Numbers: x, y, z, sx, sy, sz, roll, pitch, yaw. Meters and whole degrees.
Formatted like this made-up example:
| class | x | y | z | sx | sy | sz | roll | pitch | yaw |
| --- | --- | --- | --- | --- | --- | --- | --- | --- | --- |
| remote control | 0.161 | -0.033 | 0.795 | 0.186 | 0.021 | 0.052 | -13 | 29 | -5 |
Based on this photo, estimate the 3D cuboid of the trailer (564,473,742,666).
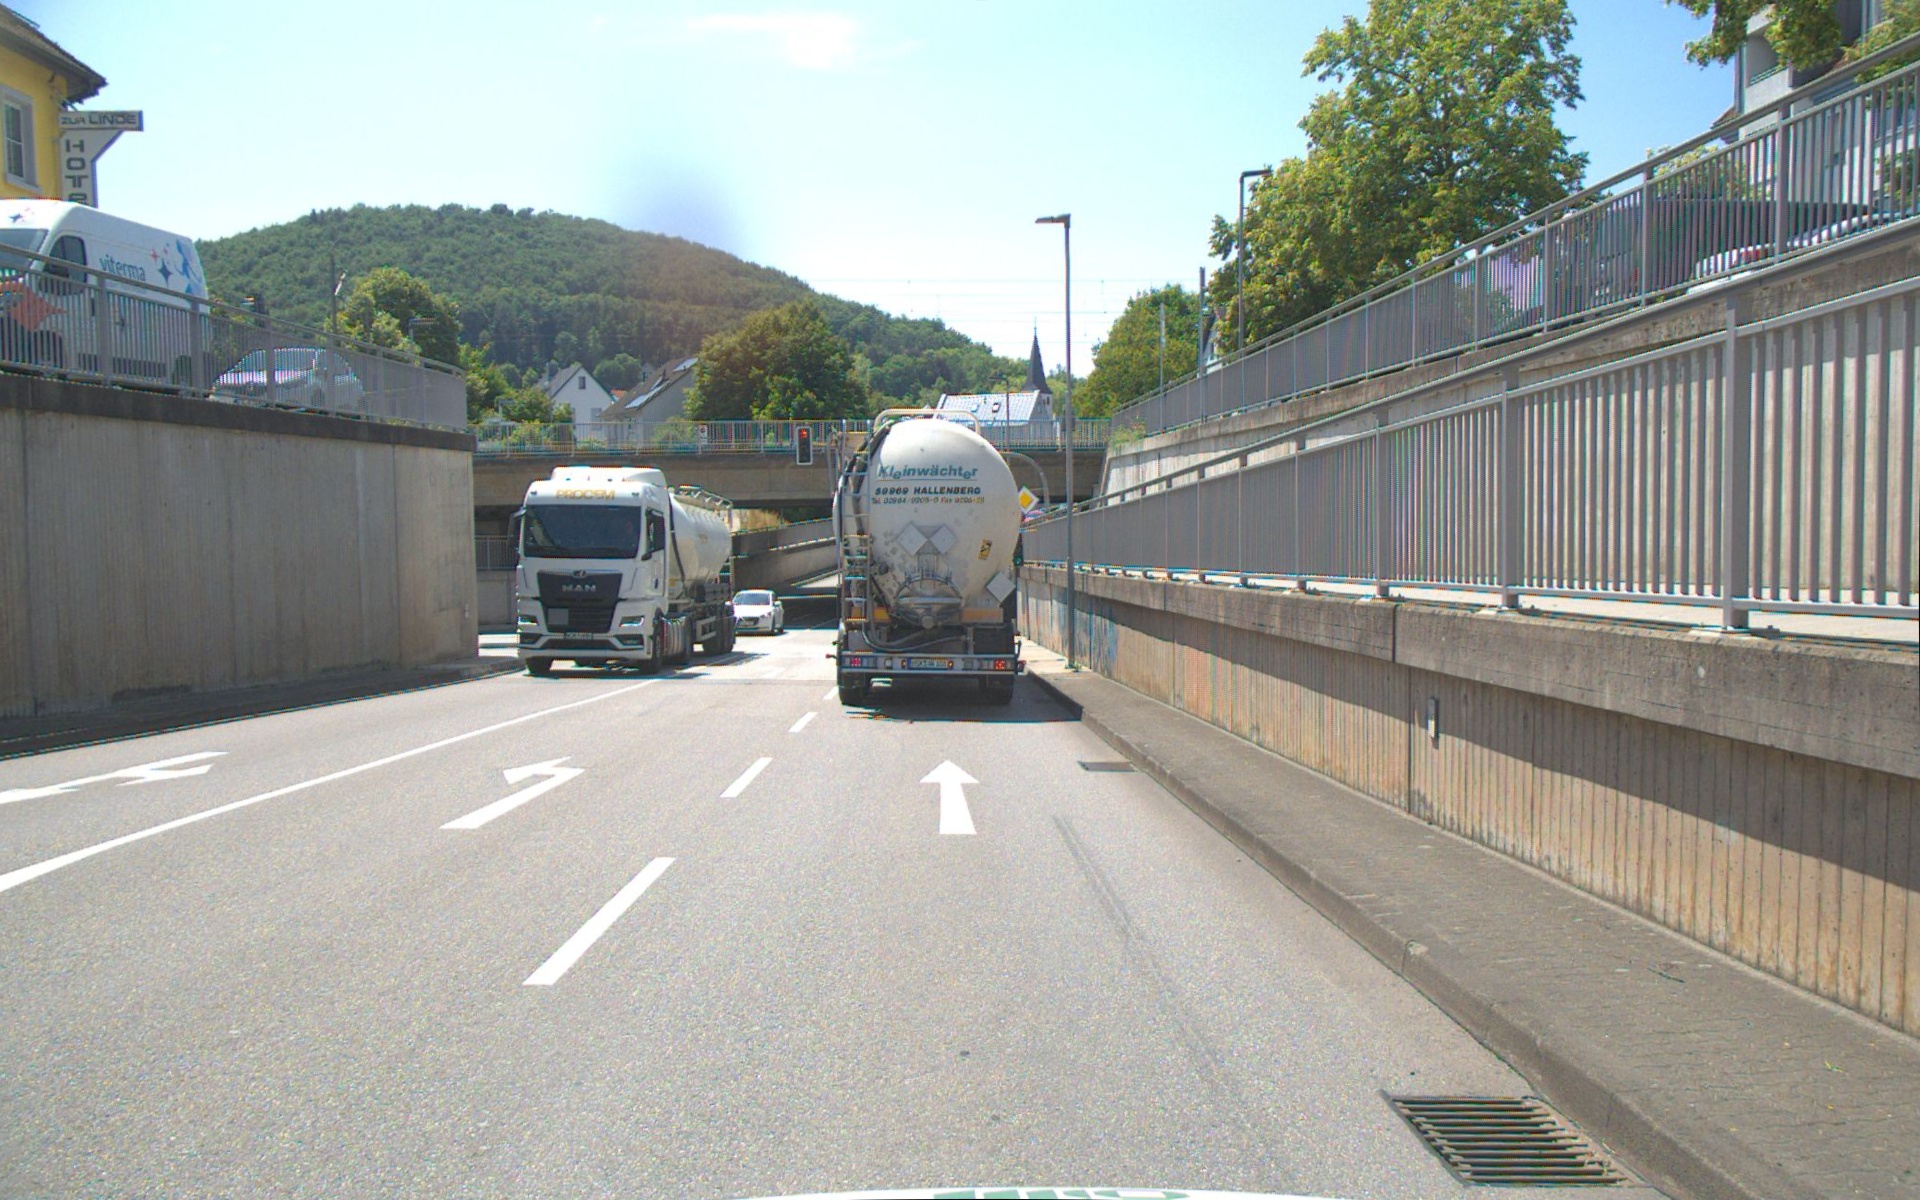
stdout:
| class | x | y | z | sx | sy | sz | roll | pitch | yaw |
| --- | --- | --- | --- | --- | --- | --- | --- | --- | --- |
| trailer | -7.052 | -0.638 | 39.302 | 2.557 | 4.033 | 9.345 | 0 | 0 | -1 |

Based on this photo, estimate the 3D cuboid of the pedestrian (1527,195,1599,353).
| class | x | y | z | sx | sy | sz | roll | pitch | yaw |
| --- | --- | --- | --- | --- | --- | --- | --- | --- | --- |
| pedestrian | 7.291 | -3.929 | 20.017 | 0.659 | 1.810 | 0.594 | -1 | 3 | 0 |

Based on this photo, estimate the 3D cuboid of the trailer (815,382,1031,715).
| class | x | y | z | sx | sy | sz | roll | pitch | yaw |
| --- | --- | --- | --- | --- | --- | --- | --- | --- | --- |
| trailer | -0.494 | -0.641 | 27.293 | 2.679 | 4.135 | 13.311 | 0 | 0 | 0 |

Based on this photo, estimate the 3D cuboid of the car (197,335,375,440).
| class | x | y | z | sx | sy | sz | roll | pitch | yaw |
| --- | --- | --- | --- | --- | --- | --- | --- | --- | --- |
| car | -11.795 | -3.685 | 29.208 | 1.586 | 1.526 | 4.044 | 1 | 3 | -2 |

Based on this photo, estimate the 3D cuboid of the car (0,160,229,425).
| class | x | y | z | sx | sy | sz | roll | pitch | yaw |
| --- | --- | --- | --- | --- | --- | --- | --- | --- | --- |
| car | -11.350 | -3.615 | 20.535 | 2.023 | 2.580 | 5.663 | 1 | 3 | 0 |

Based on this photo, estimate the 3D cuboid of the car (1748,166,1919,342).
| class | x | y | z | sx | sy | sz | roll | pitch | yaw |
| --- | --- | --- | --- | --- | --- | --- | --- | --- | --- |
| car | 9.792 | -3.255 | 15.690 | 3.826 | 1.391 | 1.686 | -1 | 3 | 0 |

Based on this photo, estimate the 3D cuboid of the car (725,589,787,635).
| class | x | y | z | sx | sy | sz | roll | pitch | yaw |
| --- | --- | --- | --- | --- | --- | --- | --- | --- | --- |
| car | -6.992 | 0.394 | 56.959 | 1.648 | 1.466 | 4.093 | 1 | 1 | 0 |

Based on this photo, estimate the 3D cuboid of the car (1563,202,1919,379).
| class | x | y | z | sx | sy | sz | roll | pitch | yaw |
| --- | --- | --- | --- | --- | --- | --- | --- | --- | --- |
| car | 9.718 | -3.804 | 20.560 | 3.826 | 1.917 | 1.686 | -1 | 3 | 0 |

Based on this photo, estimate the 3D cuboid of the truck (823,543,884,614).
| class | x | y | z | sx | sy | sz | roll | pitch | yaw |
| --- | --- | --- | --- | --- | --- | --- | --- | --- | --- |
| truck | -5.862 | -1.174 | 92.121 | 2.634 | 3.727 | 7.370 | 1 | 0 | 1 |

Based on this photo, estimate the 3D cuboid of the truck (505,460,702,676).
| class | x | y | z | sx | sy | sz | roll | pitch | yaw |
| --- | --- | --- | --- | --- | --- | --- | --- | --- | --- |
| truck | -7.004 | -0.589 | 33.433 | 2.607 | 3.928 | 6.579 | 0 | 0 | -1 |

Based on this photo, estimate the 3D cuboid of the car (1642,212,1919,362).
| class | x | y | z | sx | sy | sz | roll | pitch | yaw |
| --- | --- | --- | --- | --- | --- | --- | --- | --- | --- |
| car | 9.735 | -3.401 | 18.128 | 3.826 | 1.391 | 1.686 | -1 | 3 | 0 |
